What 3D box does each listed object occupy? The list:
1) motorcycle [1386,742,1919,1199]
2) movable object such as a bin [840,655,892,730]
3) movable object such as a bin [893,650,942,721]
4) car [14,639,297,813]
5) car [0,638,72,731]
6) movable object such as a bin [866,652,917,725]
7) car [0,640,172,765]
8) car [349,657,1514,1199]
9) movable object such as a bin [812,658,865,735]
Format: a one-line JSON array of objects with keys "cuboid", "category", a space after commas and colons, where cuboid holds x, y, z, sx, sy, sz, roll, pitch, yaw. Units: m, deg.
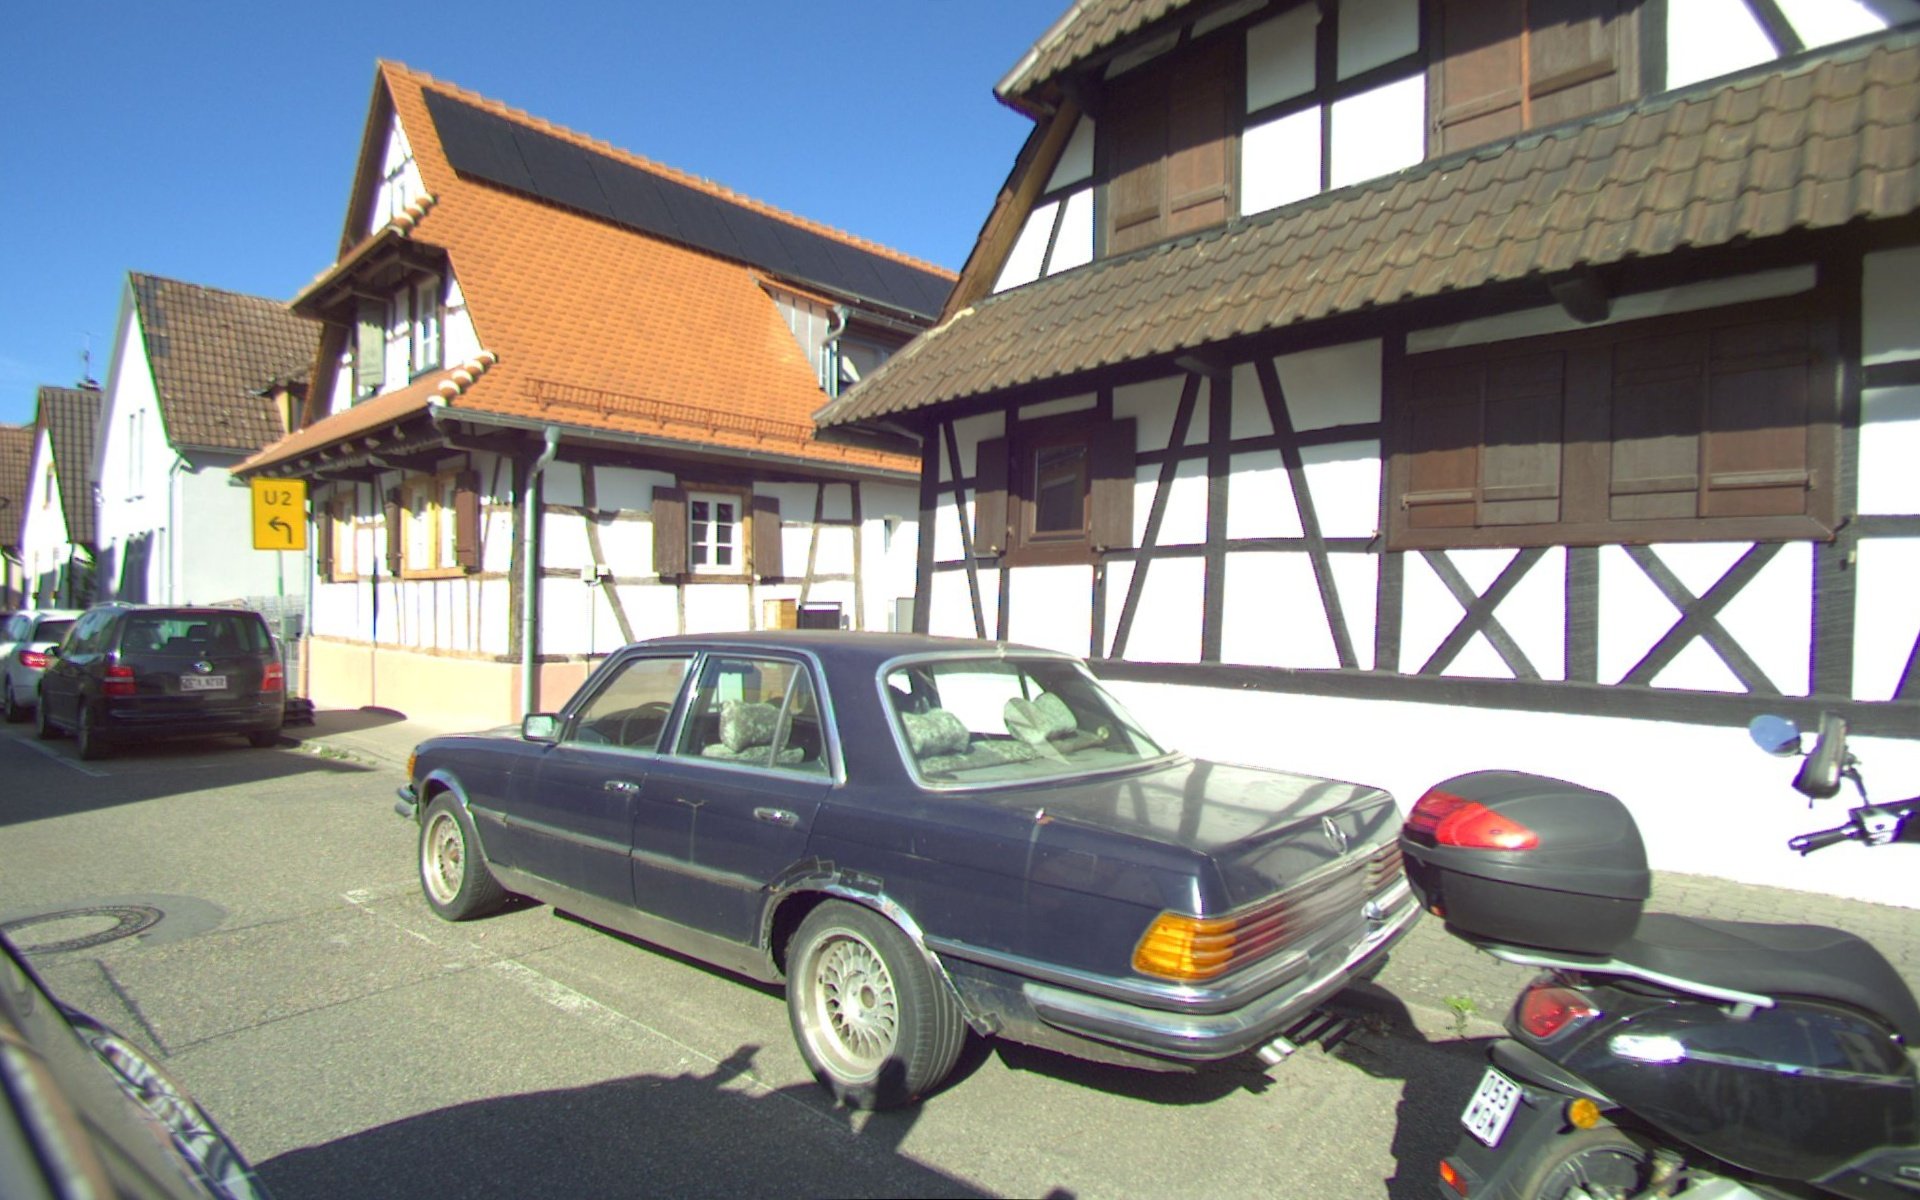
[{"cuboid": [1.943, 0.933, 1.953, 1.964, 1.241, 0.627, 0, -2, -5], "category": "motorcycle"}, {"cuboid": [-1.276, 1.235, 13.691, 0.524, 0.950, 0.465, -1, 0, 44], "category": "movable object such as a bin"}, {"cuboid": [-0.608, 1.203, 14.415, 0.524, 0.950, 0.465, -1, 0, 44], "category": "movable object such as a bin"}, {"cuboid": [-9.446, 1.281, 11.759, 4.358, 1.617, 1.765, -2, -2, 40], "category": "car"}, {"cuboid": [-18.728, 1.566, 19.482, 3.994, 1.626, 1.726, -1, -2, 38], "category": "car"}, {"cuboid": [-0.948, 1.219, 14.055, 0.524, 0.950, 0.465, -1, 0, 44], "category": "movable object such as a bin"}, {"cuboid": [-13.519, 1.415, 15.240, 4.165, 1.579, 1.798, -1, -2, 40], "category": "car"}, {"cuboid": [-0.651, 1.012, 4.317, 5.033, 1.417, 1.826, -1, -3, 40], "category": "car"}, {"cuboid": [-1.601, 1.252, 13.320, 0.524, 0.950, 0.465, -1, 0, 44], "category": "movable object such as a bin"}]
